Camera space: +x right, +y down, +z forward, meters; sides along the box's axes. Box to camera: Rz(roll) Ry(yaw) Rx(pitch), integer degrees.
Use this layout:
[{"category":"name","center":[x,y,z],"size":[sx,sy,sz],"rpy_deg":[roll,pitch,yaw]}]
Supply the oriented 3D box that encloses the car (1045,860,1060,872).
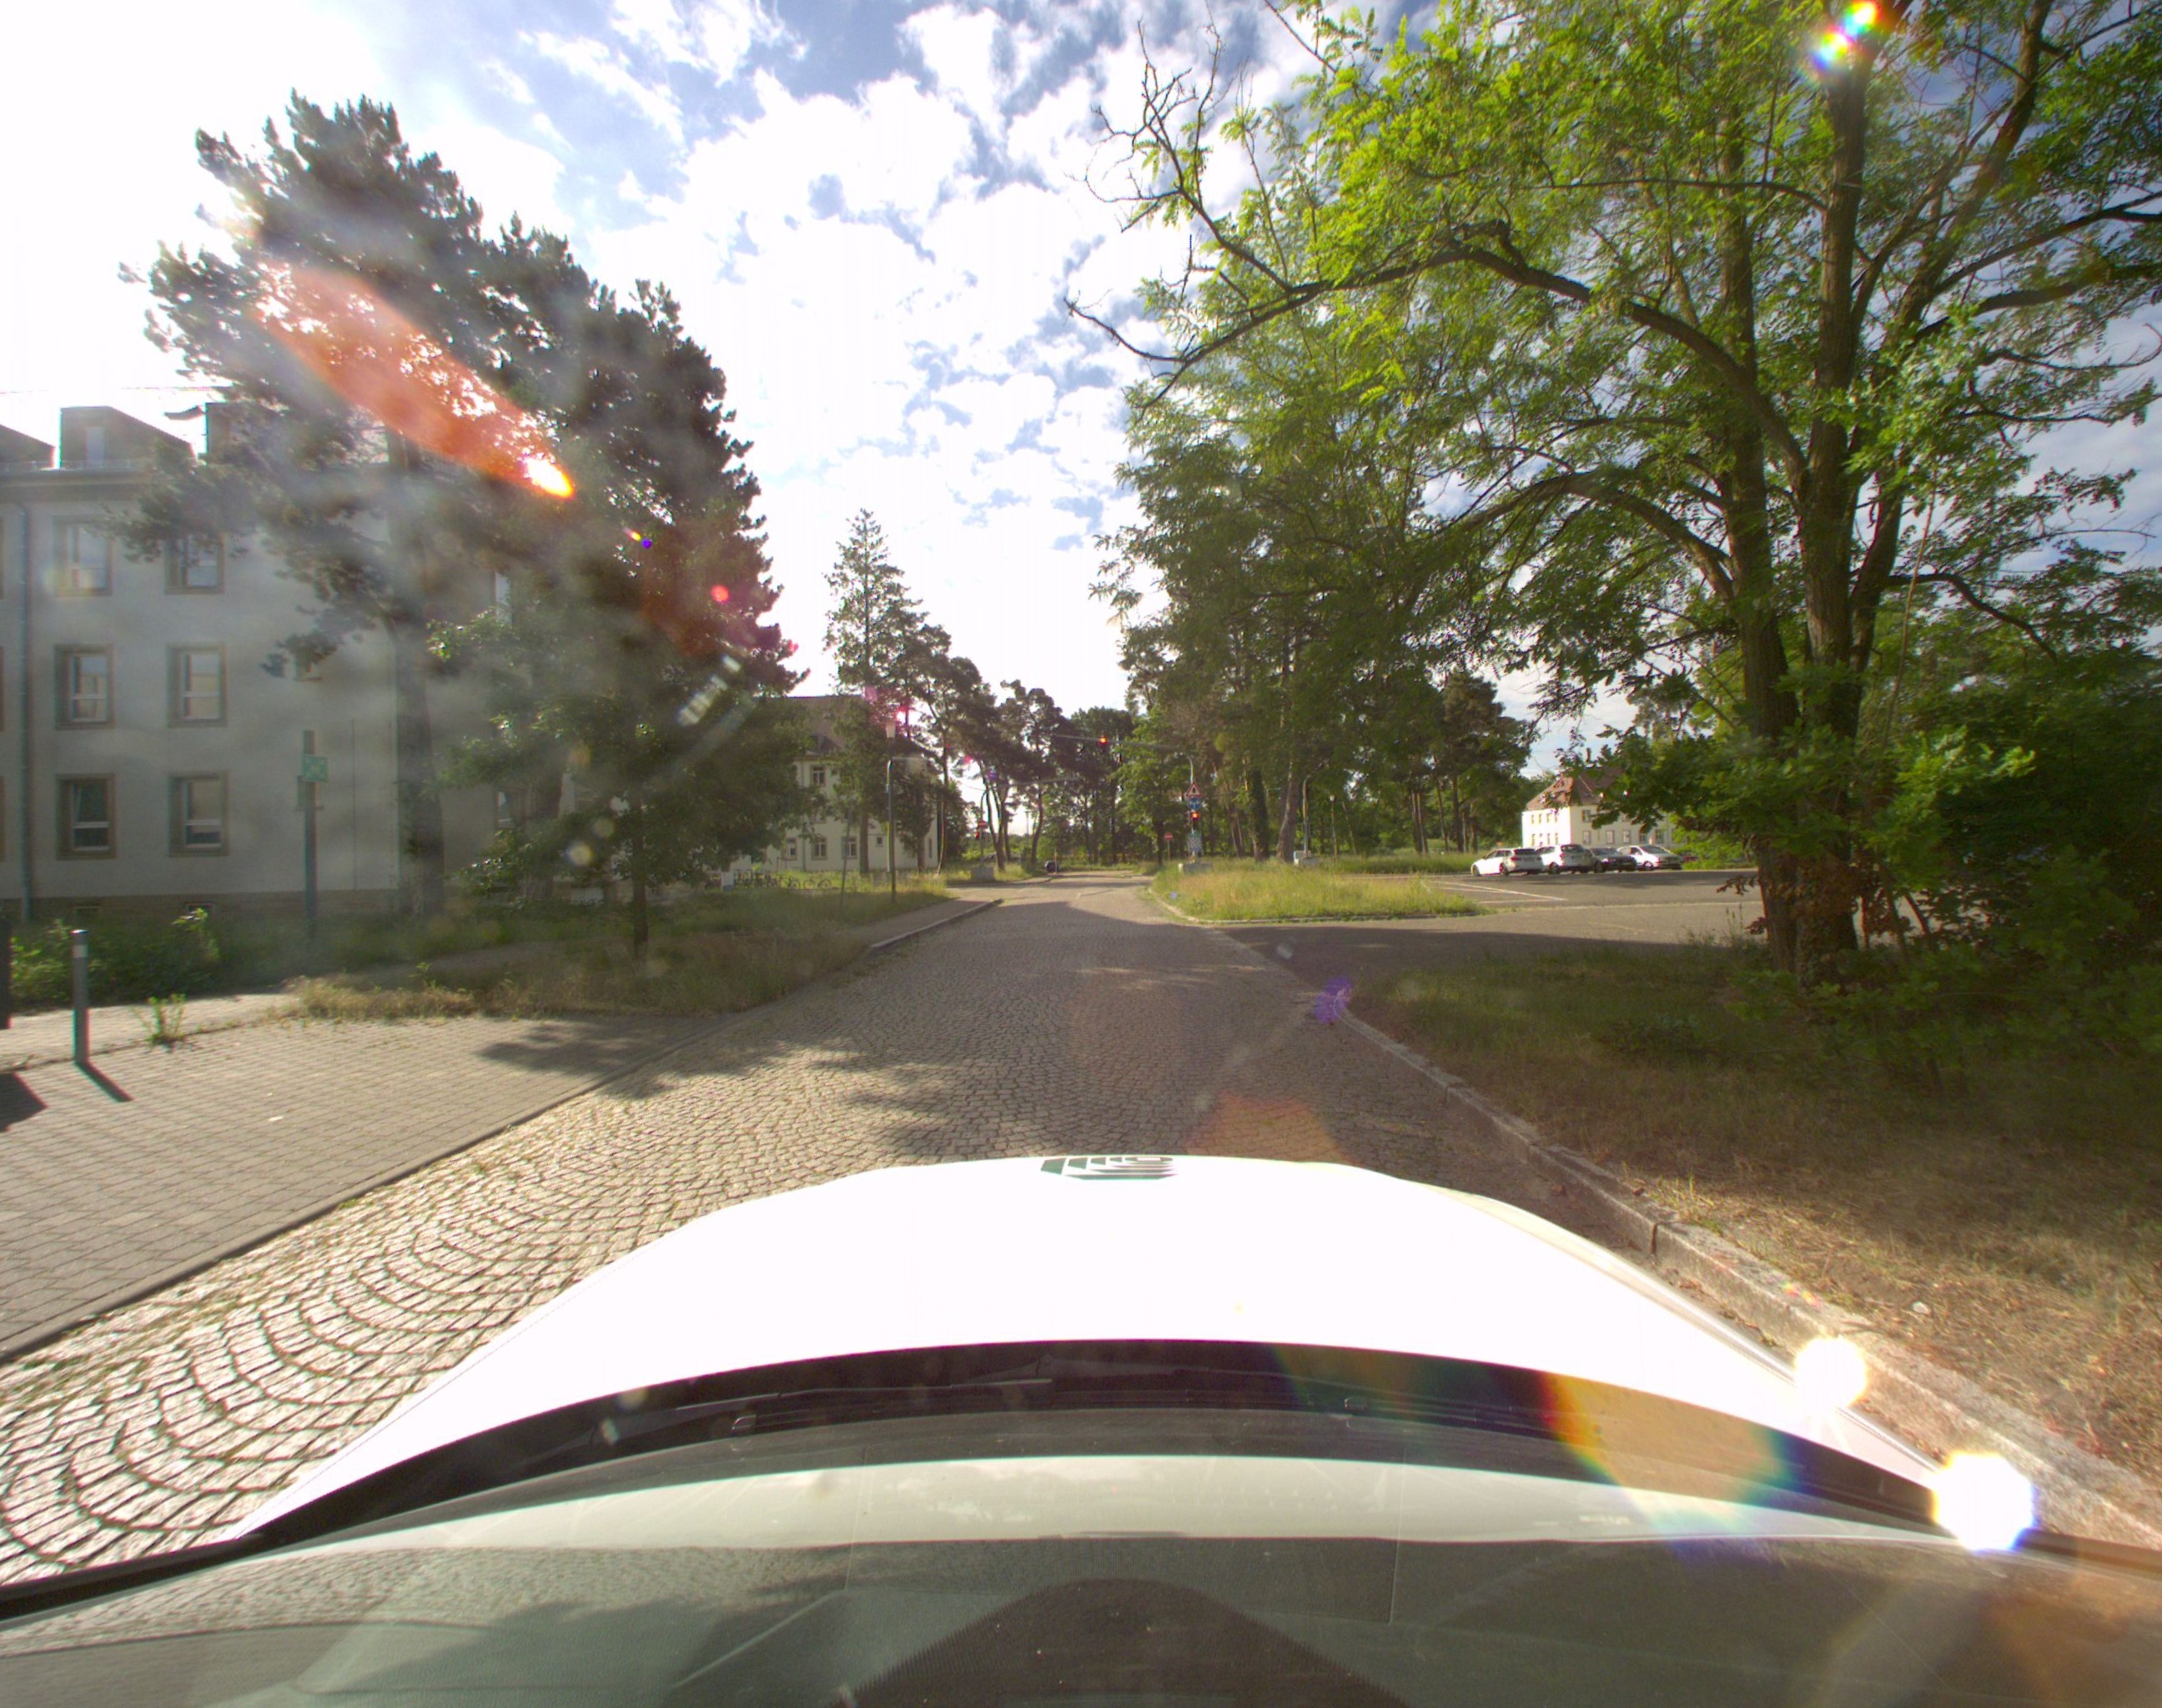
[{"category":"car","center":[-3.665,1.522,106.189],"size":[1.840,1.486,3.998],"rpy_deg":[-2,0,-1]}]

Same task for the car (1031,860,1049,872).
[{"category":"car","center":[-5.580,1.583,110.986],"size":[1.772,1.490,3.764],"rpy_deg":[-2,0,8]}]

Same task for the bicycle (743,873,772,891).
[{"category":"bicycle","center":[-19.834,1.706,49.985],"size":[0.823,1.047,2.124],"rpy_deg":[-2,0,1]}]

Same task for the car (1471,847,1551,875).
[{"category":"car","center":[22.184,0.356,42.257],"size":[1.726,1.312,4.328],"rpy_deg":[-2,0,-2]}]

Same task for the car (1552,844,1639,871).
[{"category":"car","center":[27.007,0.210,42.921],"size":[1.726,1.312,4.328],"rpy_deg":[-2,0,-2]}]

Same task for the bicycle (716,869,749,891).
[{"category":"bicycle","center":[-21.397,1.596,50.037],"size":[0.823,1.281,2.554],"rpy_deg":[-2,0,1]}]

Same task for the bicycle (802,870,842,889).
[{"category":"bicycle","center":[-15.506,1.549,48.841],"size":[2.112,1.047,0.828],"rpy_deg":[-2,-1,-3]}]

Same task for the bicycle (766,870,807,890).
[{"category":"bicycle","center":[-17.629,1.559,48.762],"size":[2.112,1.108,0.828],"rpy_deg":[-2,-1,-3]}]

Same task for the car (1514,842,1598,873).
[{"category":"car","center":[24.701,0.189,42.548],"size":[1.726,1.476,4.328],"rpy_deg":[-2,0,-2]}]

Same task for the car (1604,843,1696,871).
[{"category":"car","center":[30.053,0.164,43.167],"size":[1.726,1.312,4.328],"rpy_deg":[-2,0,-2]}]

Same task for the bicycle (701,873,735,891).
[{"category":"bicycle","center":[-22.288,1.716,50.043],"size":[0.897,1.047,2.554],"rpy_deg":[-2,0,1]}]

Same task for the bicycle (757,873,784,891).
[{"category":"bicycle","center":[-19.052,1.704,50.023],"size":[0.823,1.047,2.124],"rpy_deg":[-2,0,1]}]

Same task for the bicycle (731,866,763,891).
[{"category":"bicycle","center":[-20.621,1.503,50.334],"size":[0.823,1.437,2.554],"rpy_deg":[-2,0,1]}]
